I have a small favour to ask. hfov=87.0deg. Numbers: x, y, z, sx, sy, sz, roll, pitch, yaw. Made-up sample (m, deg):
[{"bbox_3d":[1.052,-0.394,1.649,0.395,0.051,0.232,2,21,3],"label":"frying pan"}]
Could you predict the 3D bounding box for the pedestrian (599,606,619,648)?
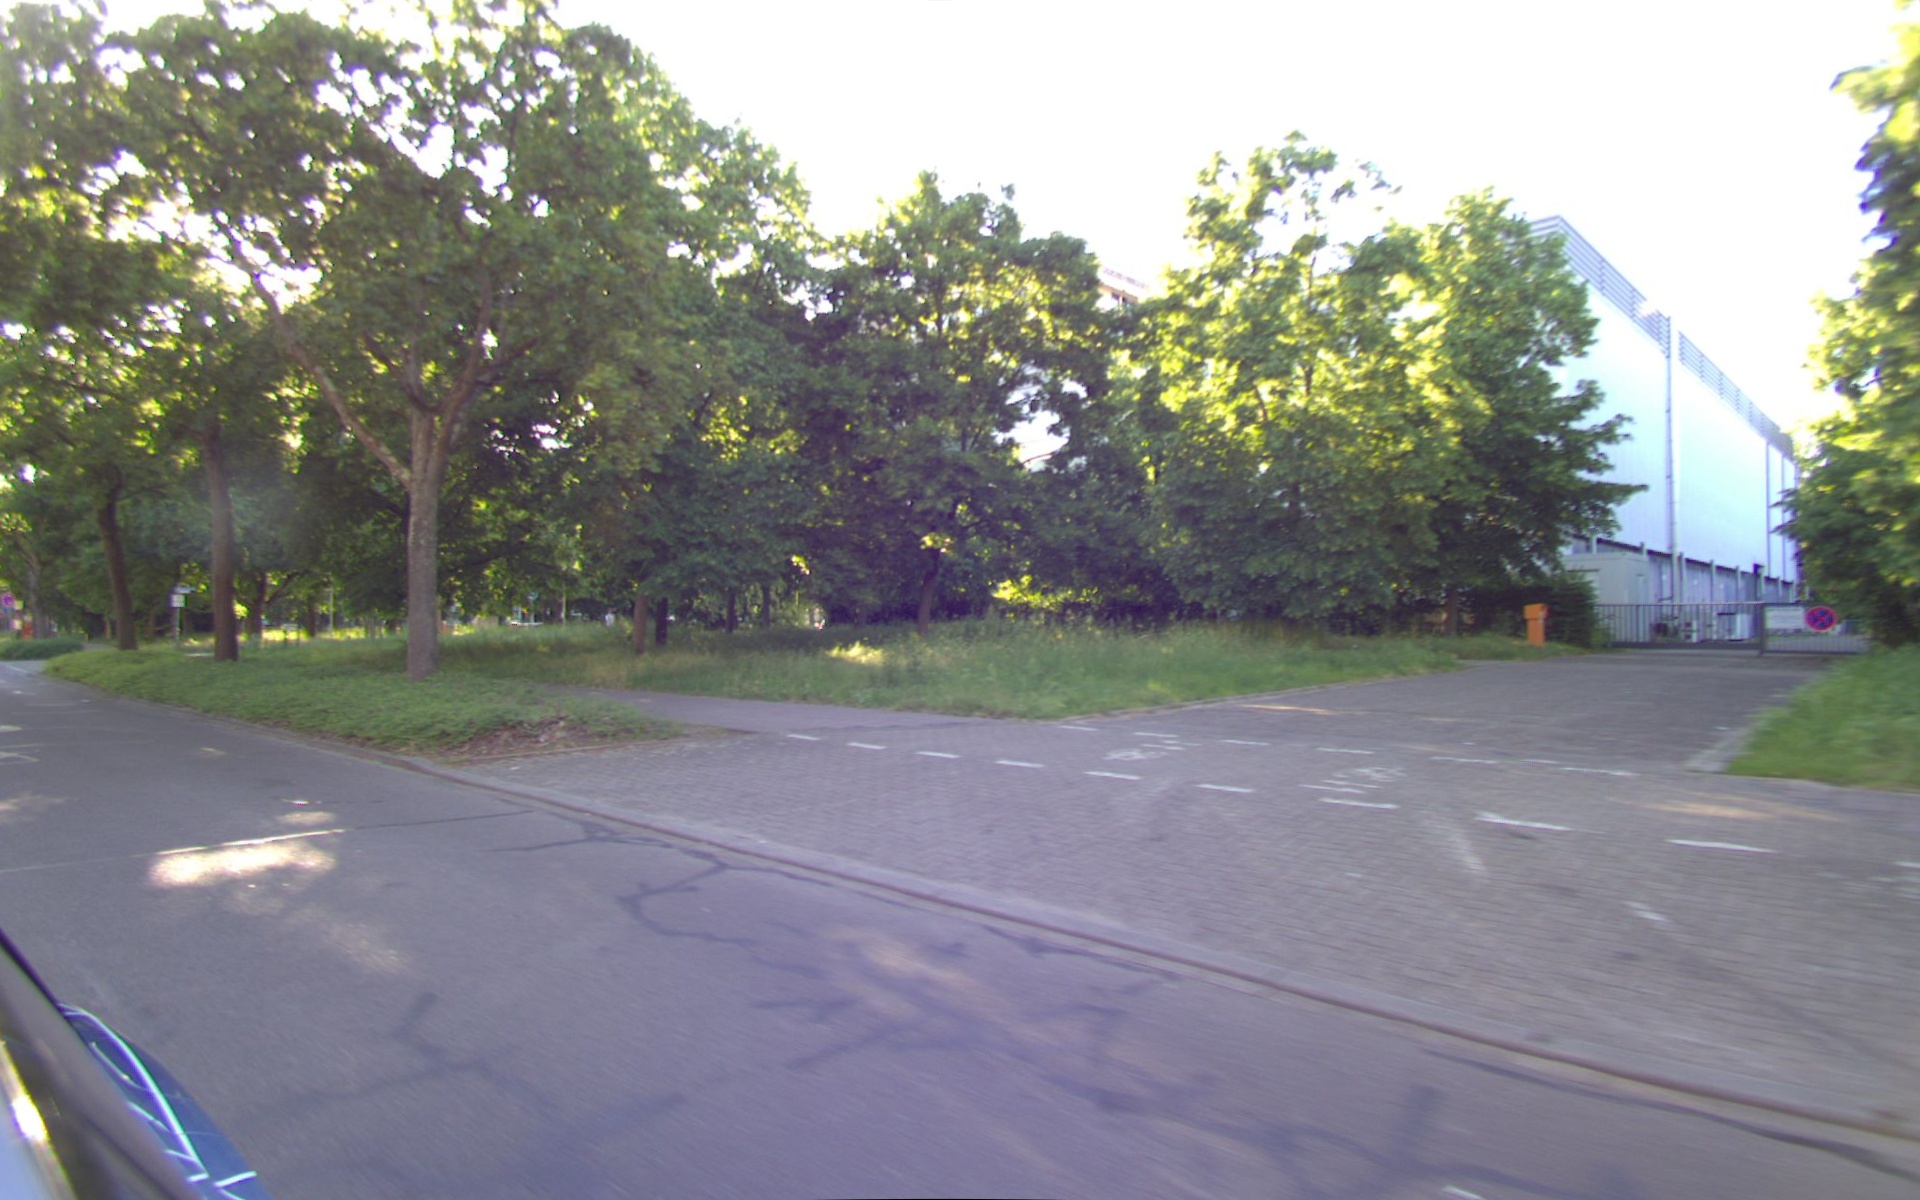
[{"bbox_3d":[-17.438,1.344,50.289,0.747,2.029,0.591,0,-1,-43],"label":"pedestrian"}]
